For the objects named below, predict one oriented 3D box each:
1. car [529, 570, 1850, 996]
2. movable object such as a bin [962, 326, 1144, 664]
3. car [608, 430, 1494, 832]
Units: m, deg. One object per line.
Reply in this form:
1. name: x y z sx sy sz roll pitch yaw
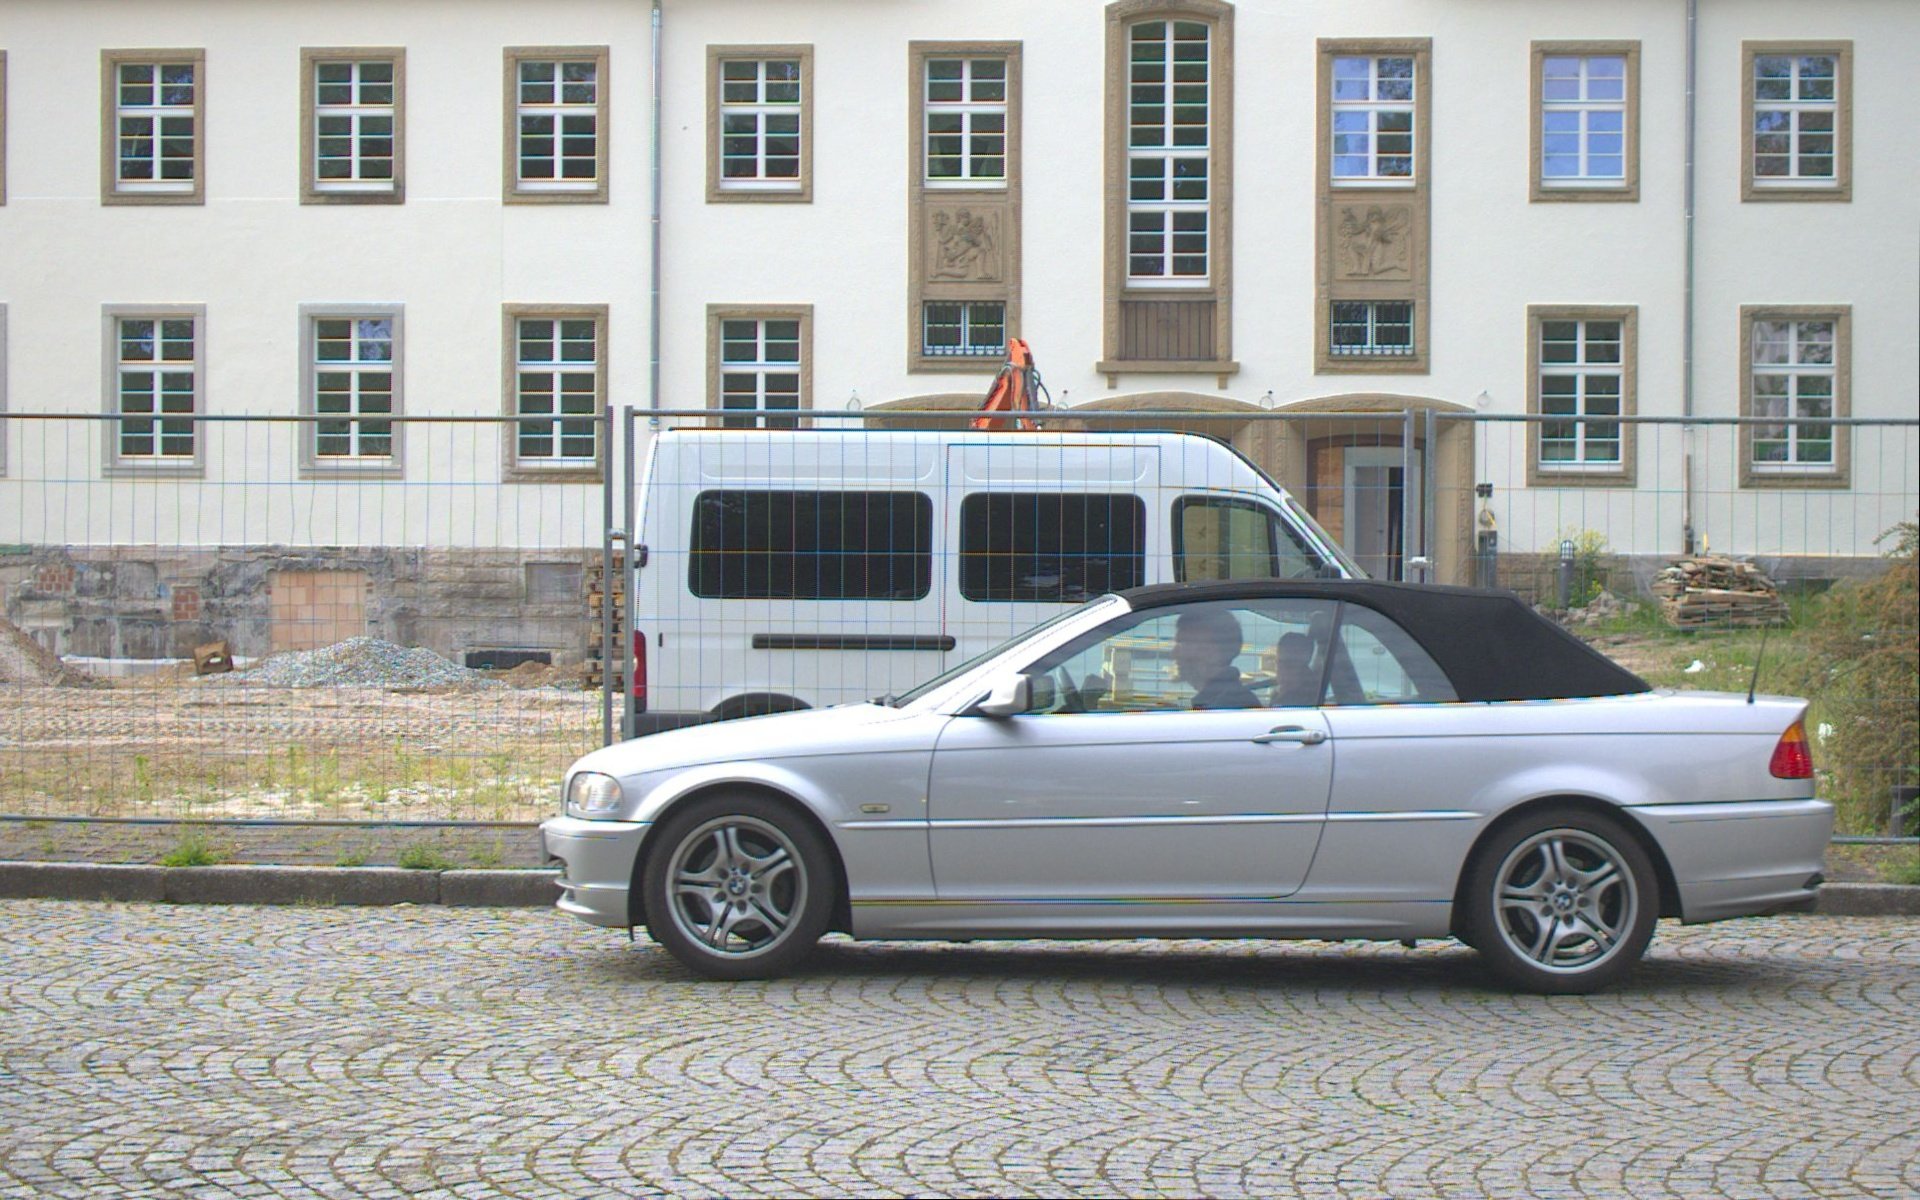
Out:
1. car: 0.759 0.606 11.986 4.280 1.342 1.607 0 -1 2
2. movable object such as a bin: 1.043 -1.217 41.079 1.993 3.758 5.318 1 1 0
3. car: 0.595 0.156 21.424 5.264 2.336 1.910 1 1 5
